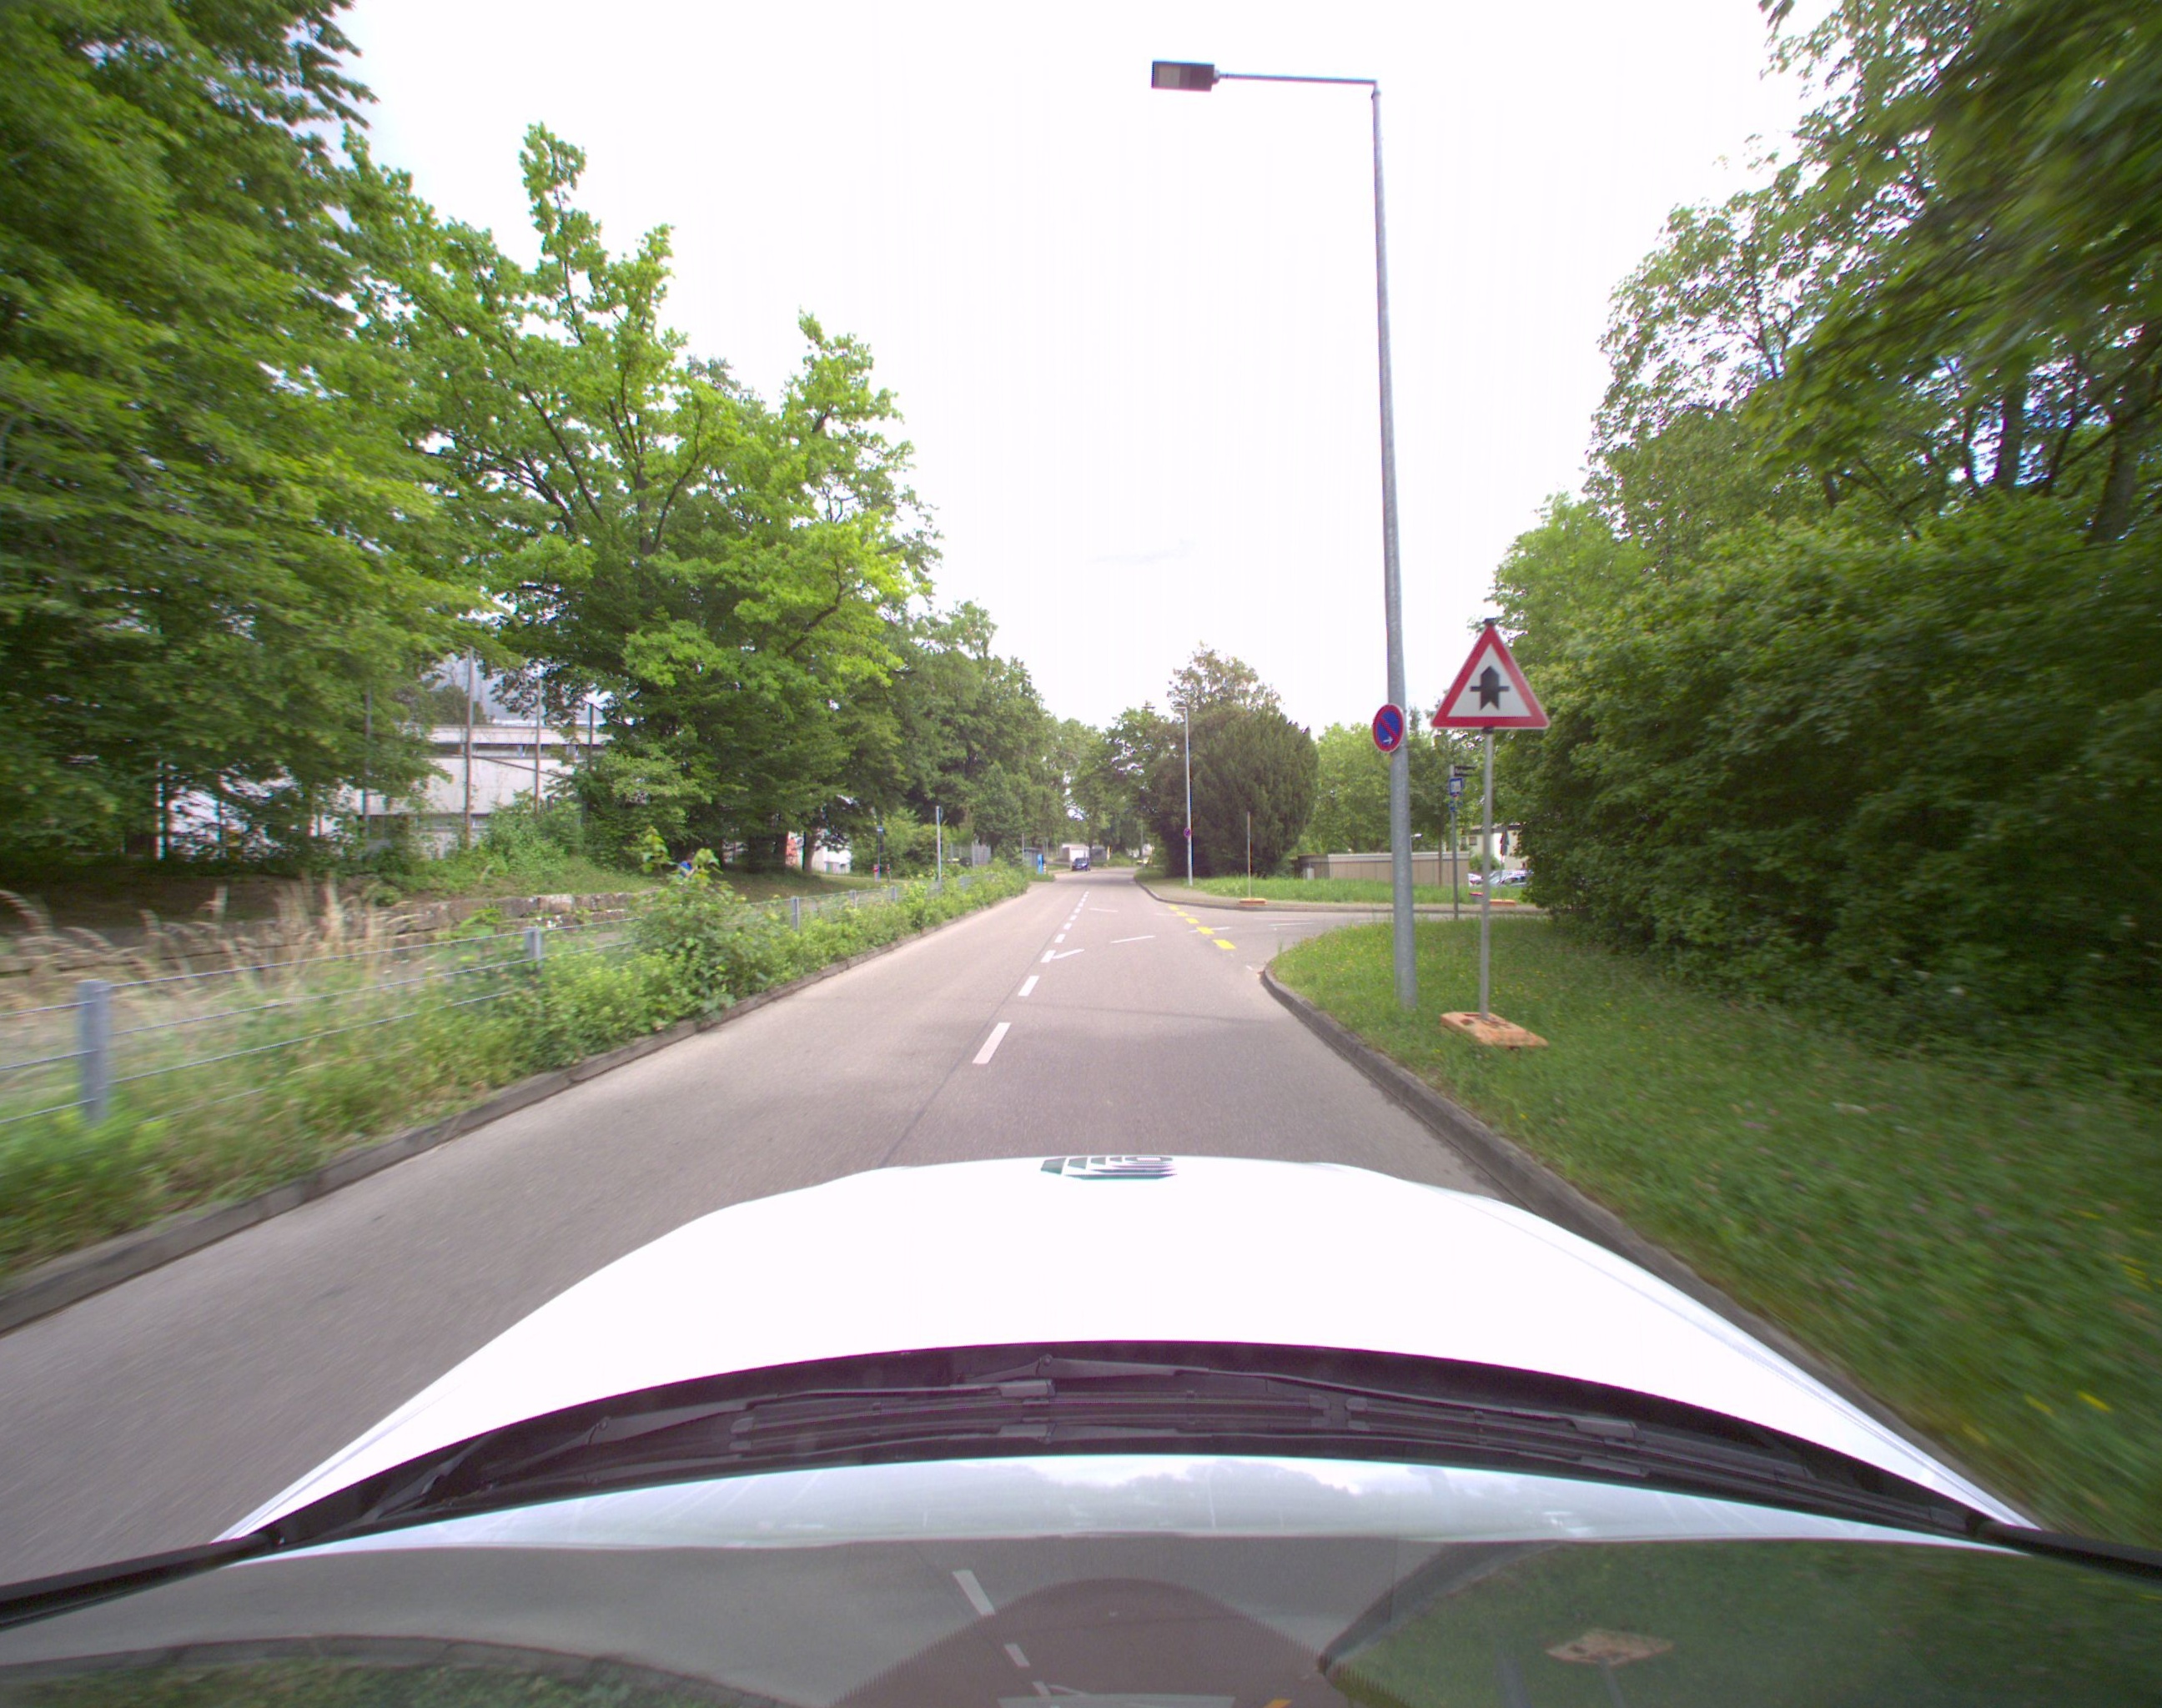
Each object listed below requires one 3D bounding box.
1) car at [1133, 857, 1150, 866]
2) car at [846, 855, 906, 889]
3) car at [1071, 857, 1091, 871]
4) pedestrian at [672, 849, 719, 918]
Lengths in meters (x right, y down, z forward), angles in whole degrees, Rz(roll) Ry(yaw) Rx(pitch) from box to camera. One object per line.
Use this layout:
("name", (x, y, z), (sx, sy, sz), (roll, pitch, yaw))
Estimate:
("car", (9.486, 1.201, 127.646), (1.686, 1.403, 4.293), (0, -1, 19))
("car", (-12.857, 1.084, 51.295), (1.979, 2.013, 4.015), (-1, 0, 14))
("car", (0.031, 1.109, 90.516), (1.671, 1.512, 4.440), (0, -1, 7))
("pedestrian", (-9.591, 0.725, 20.305), (0.757, 1.662, 0.809), (-1, 0, 0))
